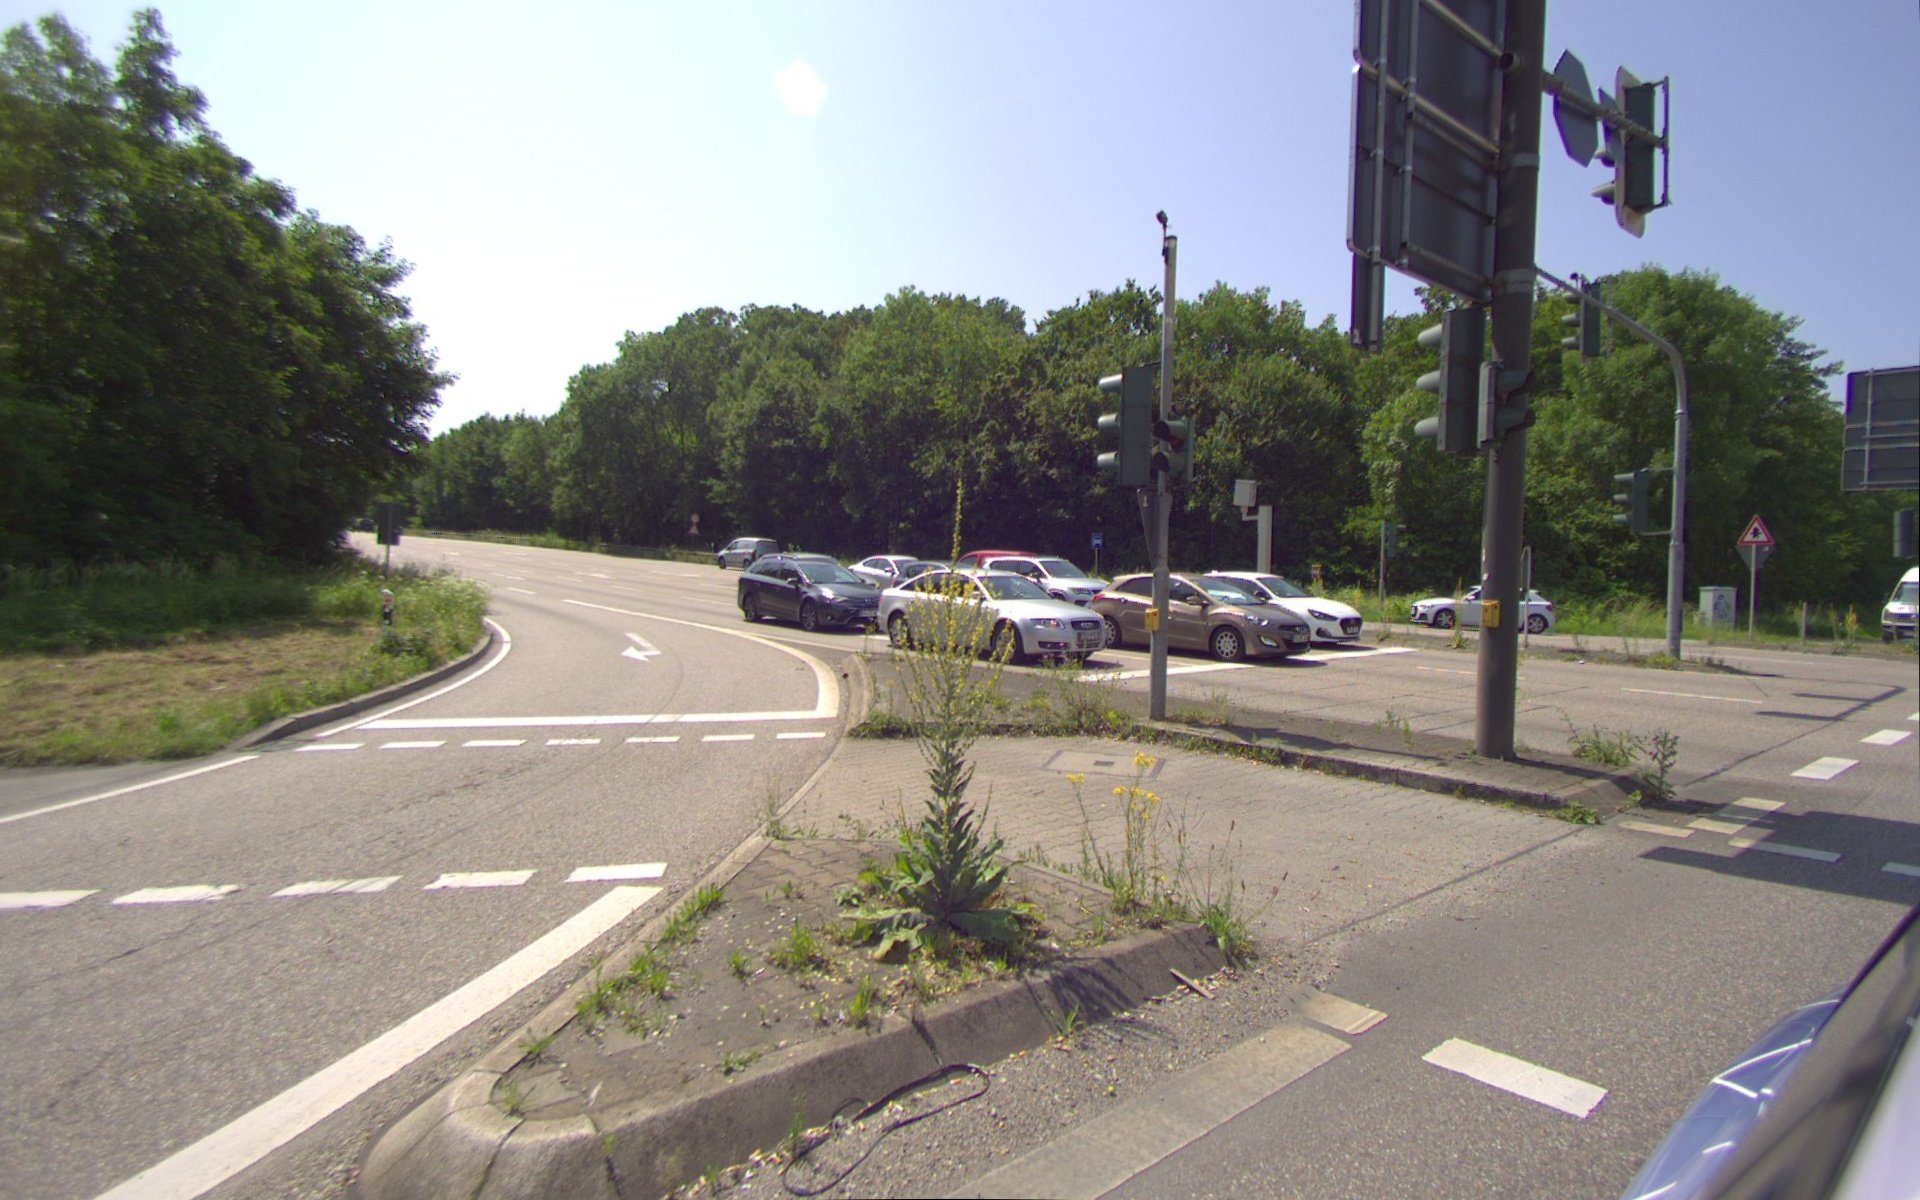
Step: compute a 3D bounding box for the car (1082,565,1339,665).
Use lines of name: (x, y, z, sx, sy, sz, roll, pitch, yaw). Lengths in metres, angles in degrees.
car: (4.399, 0.187, 18.247, 1.961, 1.464, 4.100, 0, 3, -41)

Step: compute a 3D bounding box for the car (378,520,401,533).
car: (-69.296, -8.893, 122.879, 1.814, 1.517, 4.460, 0, 3, -39)

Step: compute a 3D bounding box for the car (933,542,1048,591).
car: (1.186, -1.344, 40.945, 4.475, 1.845, 1.772, 2, 0, 40)

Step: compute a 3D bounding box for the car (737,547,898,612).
car: (-4.097, -0.636, 28.386, 2.100, 1.552, 5.143, -1, 4, -39)

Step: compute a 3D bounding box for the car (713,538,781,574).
car: (-11.547, -2.372, 54.710, 1.732, 1.795, 4.105, 1, 1, -42)

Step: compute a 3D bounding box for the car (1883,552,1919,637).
car: (32.983, -0.151, 33.457, 5.939, 2.678, 1.978, 1, 0, -31)

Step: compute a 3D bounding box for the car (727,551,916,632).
car: (-3.214, -0.266, 22.633, 2.074, 1.516, 4.629, -1, 3, -39)

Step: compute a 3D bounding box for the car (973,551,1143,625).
car: (2.449, -0.372, 26.216, 1.964, 1.679, 4.183, 0, 3, -39)

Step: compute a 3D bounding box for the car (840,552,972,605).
car: (-1.756, -0.701, 31.598, 1.938, 1.431, 4.343, 0, 4, -39)

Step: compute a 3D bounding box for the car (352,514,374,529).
car: (-75.969, -10.008, 128.829, 1.814, 1.772, 4.460, 0, 3, -39)

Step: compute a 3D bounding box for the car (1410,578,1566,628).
car: (16.230, 0.079, 31.300, 3.941, 1.453, 1.688, 0, 0, 14)

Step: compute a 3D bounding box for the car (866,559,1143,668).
car: (0.583, 0.114, 17.353, 1.984, 1.517, 4.945, -1, 3, -39)

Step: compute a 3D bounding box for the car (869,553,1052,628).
car: (-0.084, -0.290, 24.557, 2.085, 1.554, 4.430, -1, 4, -40)

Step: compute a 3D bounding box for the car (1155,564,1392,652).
car: (6.567, 0.091, 21.577, 1.965, 1.554, 4.429, 0, 3, -41)
